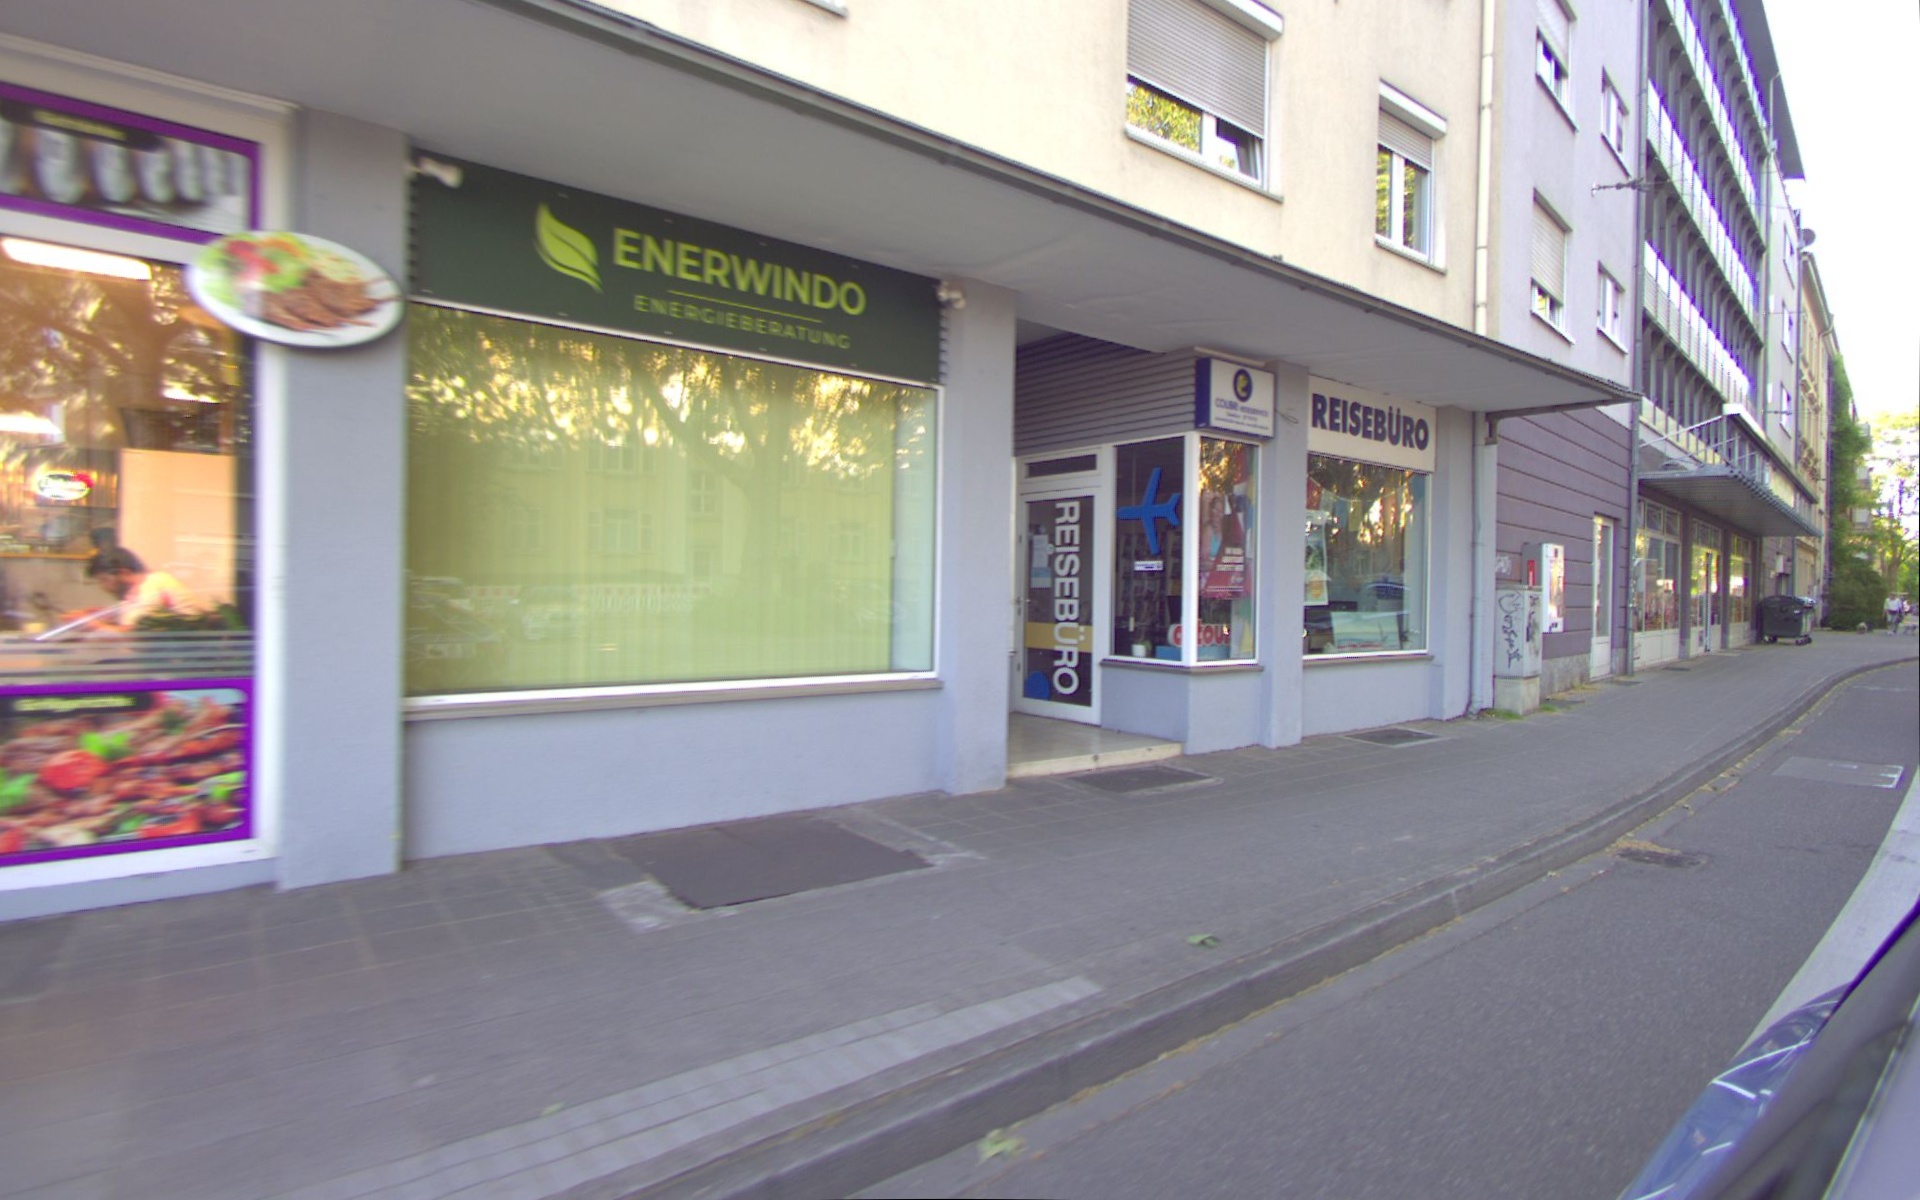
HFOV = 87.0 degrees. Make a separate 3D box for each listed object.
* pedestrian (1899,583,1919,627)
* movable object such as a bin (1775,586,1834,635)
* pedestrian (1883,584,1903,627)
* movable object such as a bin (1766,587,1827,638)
[{"bbox_3d":[37.666,0.188,40.156,0.620,1.693,0.540,0,0,-43],"label":"pedestrian"},{"bbox_3d":[25.670,0.303,30.767,1.349,1.428,1.202,0,1,-43],"label":"movable object such as a bin"},{"bbox_3d":[38.782,0.218,42.049,0.620,1.743,0.540,0,0,-43],"label":"pedestrian"},{"bbox_3d":[24.276,0.336,29.378,1.349,1.428,1.202,0,1,-43],"label":"movable object such as a bin"}]
